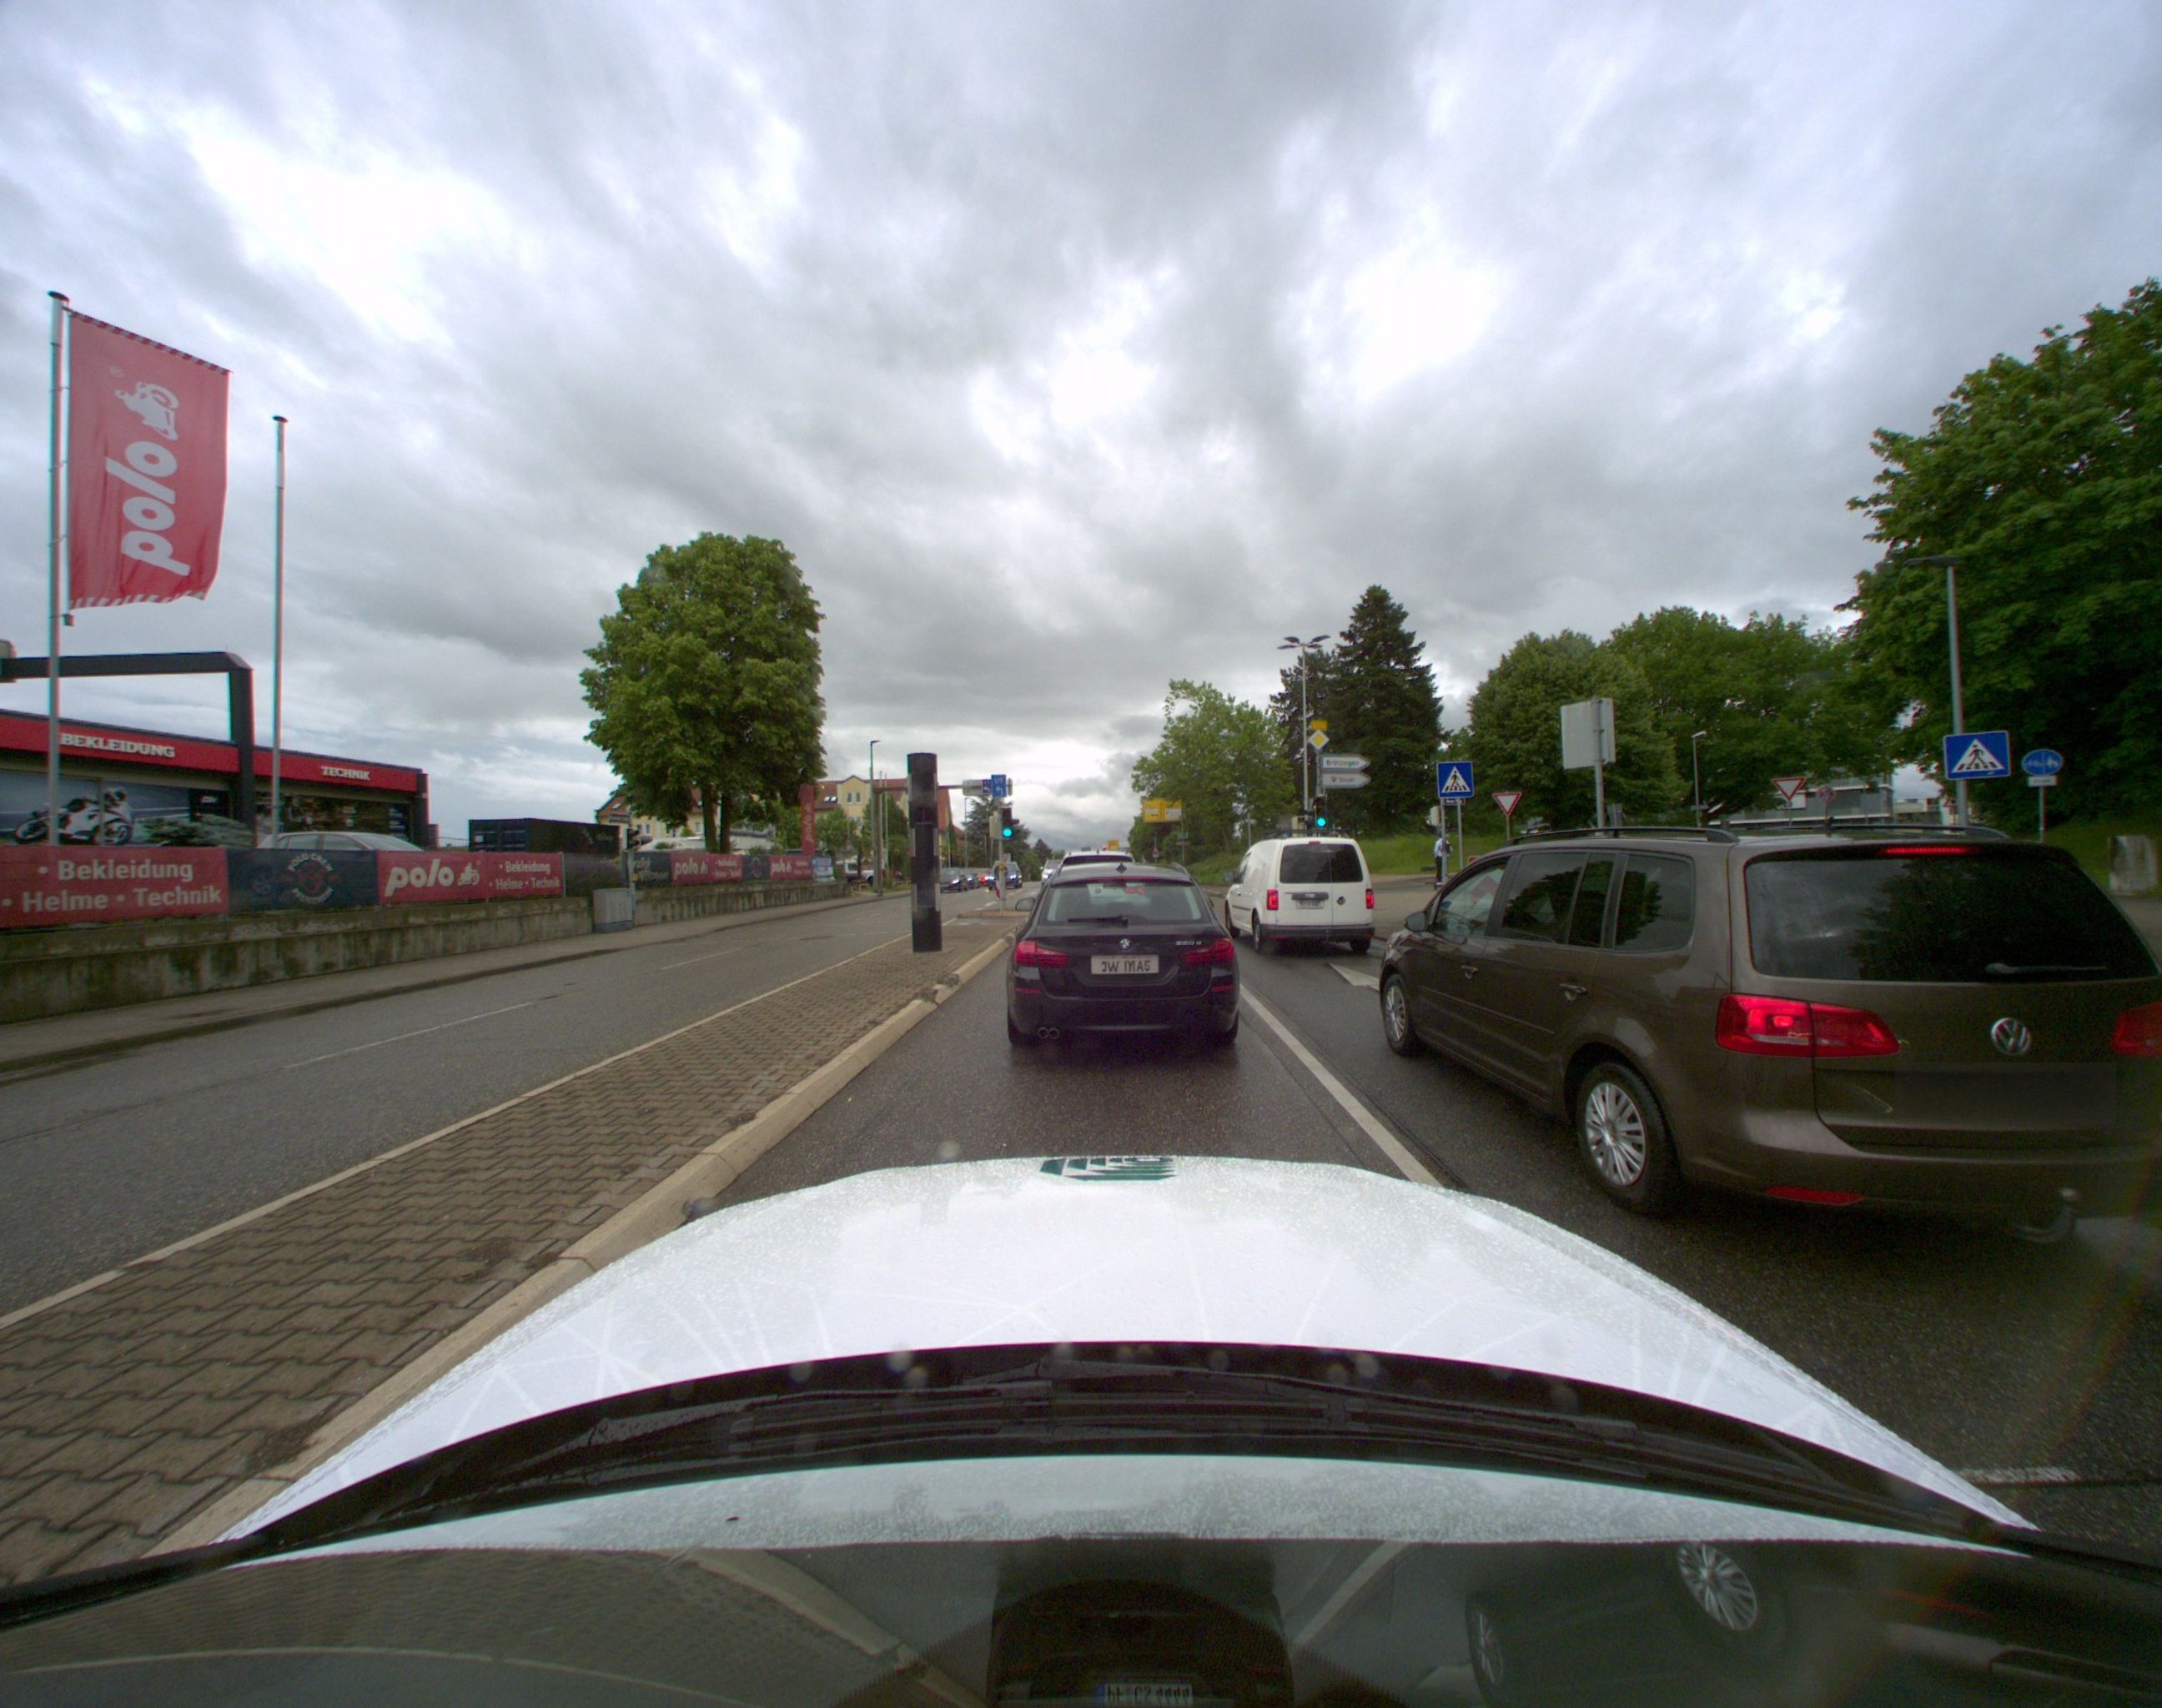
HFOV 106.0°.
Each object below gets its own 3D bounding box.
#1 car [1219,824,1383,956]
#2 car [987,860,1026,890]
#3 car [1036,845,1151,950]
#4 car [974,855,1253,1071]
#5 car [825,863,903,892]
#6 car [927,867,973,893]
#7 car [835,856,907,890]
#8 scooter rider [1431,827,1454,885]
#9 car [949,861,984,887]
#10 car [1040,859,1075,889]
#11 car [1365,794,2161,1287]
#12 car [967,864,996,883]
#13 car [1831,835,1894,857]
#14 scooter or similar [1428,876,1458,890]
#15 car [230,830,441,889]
[{"bbox_3d":[3.507,0.515,13.693,1.758,1.877,3.806,-1,0,1],"label":"car"},{"bbox_3d":[-4.503,1.256,49.550,1.833,1.649,4.297,-3,0,1],"label":"car"},{"bbox_3d":[0.273,0.703,15.302,1.861,1.673,4.002,-1,0,2],"label":"car"},{"bbox_3d":[0.294,0.751,7.590,1.891,1.441,4.002,-1,0,2],"label":"car"},{"bbox_3d":[-15.667,1.679,58.814,5.024,1.702,1.982,-3,-3,-27],"label":"car"},{"bbox_3d":[-7.829,1.533,48.892,1.910,1.379,4.127,-3,0,2],"label":"car"},{"bbox_3d":[-14.478,1.308,56.215,4.410,2.013,1.982,-3,-1,-27],"label":"car"},{"bbox_3d":[12.530,0.057,28.215,0.499,1.965,0.548,-2,0,1],"label":"scooter rider"},{"bbox_3d":[-7.816,1.347,55.898,1.670,1.618,4.001,-3,0,1],"label":"car"},{"bbox_3d":[-1.356,1.128,48.398,1.833,1.649,4.297,-2,0,1],"label":"car"},{"bbox_3d":[3.142,0.628,4.676,1.740,1.609,3.982,-1,0,2],"label":"car"},{"bbox_3d":[-7.552,1.459,62.034,1.617,1.332,3.947,-3,0,1],"label":"car"},{"bbox_3d":[61.380,-0.618,63.969,3.999,1.428,1.841,-3,-2,-19],"label":"car"},{"bbox_3d":[12.572,1.011,28.302,0.485,0.403,1.256,-2,0,1],"label":"scooter or similar"},{"bbox_3d":[-16.900,0.122,18.559,3.376,1.167,1.453,-2,0,-1],"label":"car"}]
